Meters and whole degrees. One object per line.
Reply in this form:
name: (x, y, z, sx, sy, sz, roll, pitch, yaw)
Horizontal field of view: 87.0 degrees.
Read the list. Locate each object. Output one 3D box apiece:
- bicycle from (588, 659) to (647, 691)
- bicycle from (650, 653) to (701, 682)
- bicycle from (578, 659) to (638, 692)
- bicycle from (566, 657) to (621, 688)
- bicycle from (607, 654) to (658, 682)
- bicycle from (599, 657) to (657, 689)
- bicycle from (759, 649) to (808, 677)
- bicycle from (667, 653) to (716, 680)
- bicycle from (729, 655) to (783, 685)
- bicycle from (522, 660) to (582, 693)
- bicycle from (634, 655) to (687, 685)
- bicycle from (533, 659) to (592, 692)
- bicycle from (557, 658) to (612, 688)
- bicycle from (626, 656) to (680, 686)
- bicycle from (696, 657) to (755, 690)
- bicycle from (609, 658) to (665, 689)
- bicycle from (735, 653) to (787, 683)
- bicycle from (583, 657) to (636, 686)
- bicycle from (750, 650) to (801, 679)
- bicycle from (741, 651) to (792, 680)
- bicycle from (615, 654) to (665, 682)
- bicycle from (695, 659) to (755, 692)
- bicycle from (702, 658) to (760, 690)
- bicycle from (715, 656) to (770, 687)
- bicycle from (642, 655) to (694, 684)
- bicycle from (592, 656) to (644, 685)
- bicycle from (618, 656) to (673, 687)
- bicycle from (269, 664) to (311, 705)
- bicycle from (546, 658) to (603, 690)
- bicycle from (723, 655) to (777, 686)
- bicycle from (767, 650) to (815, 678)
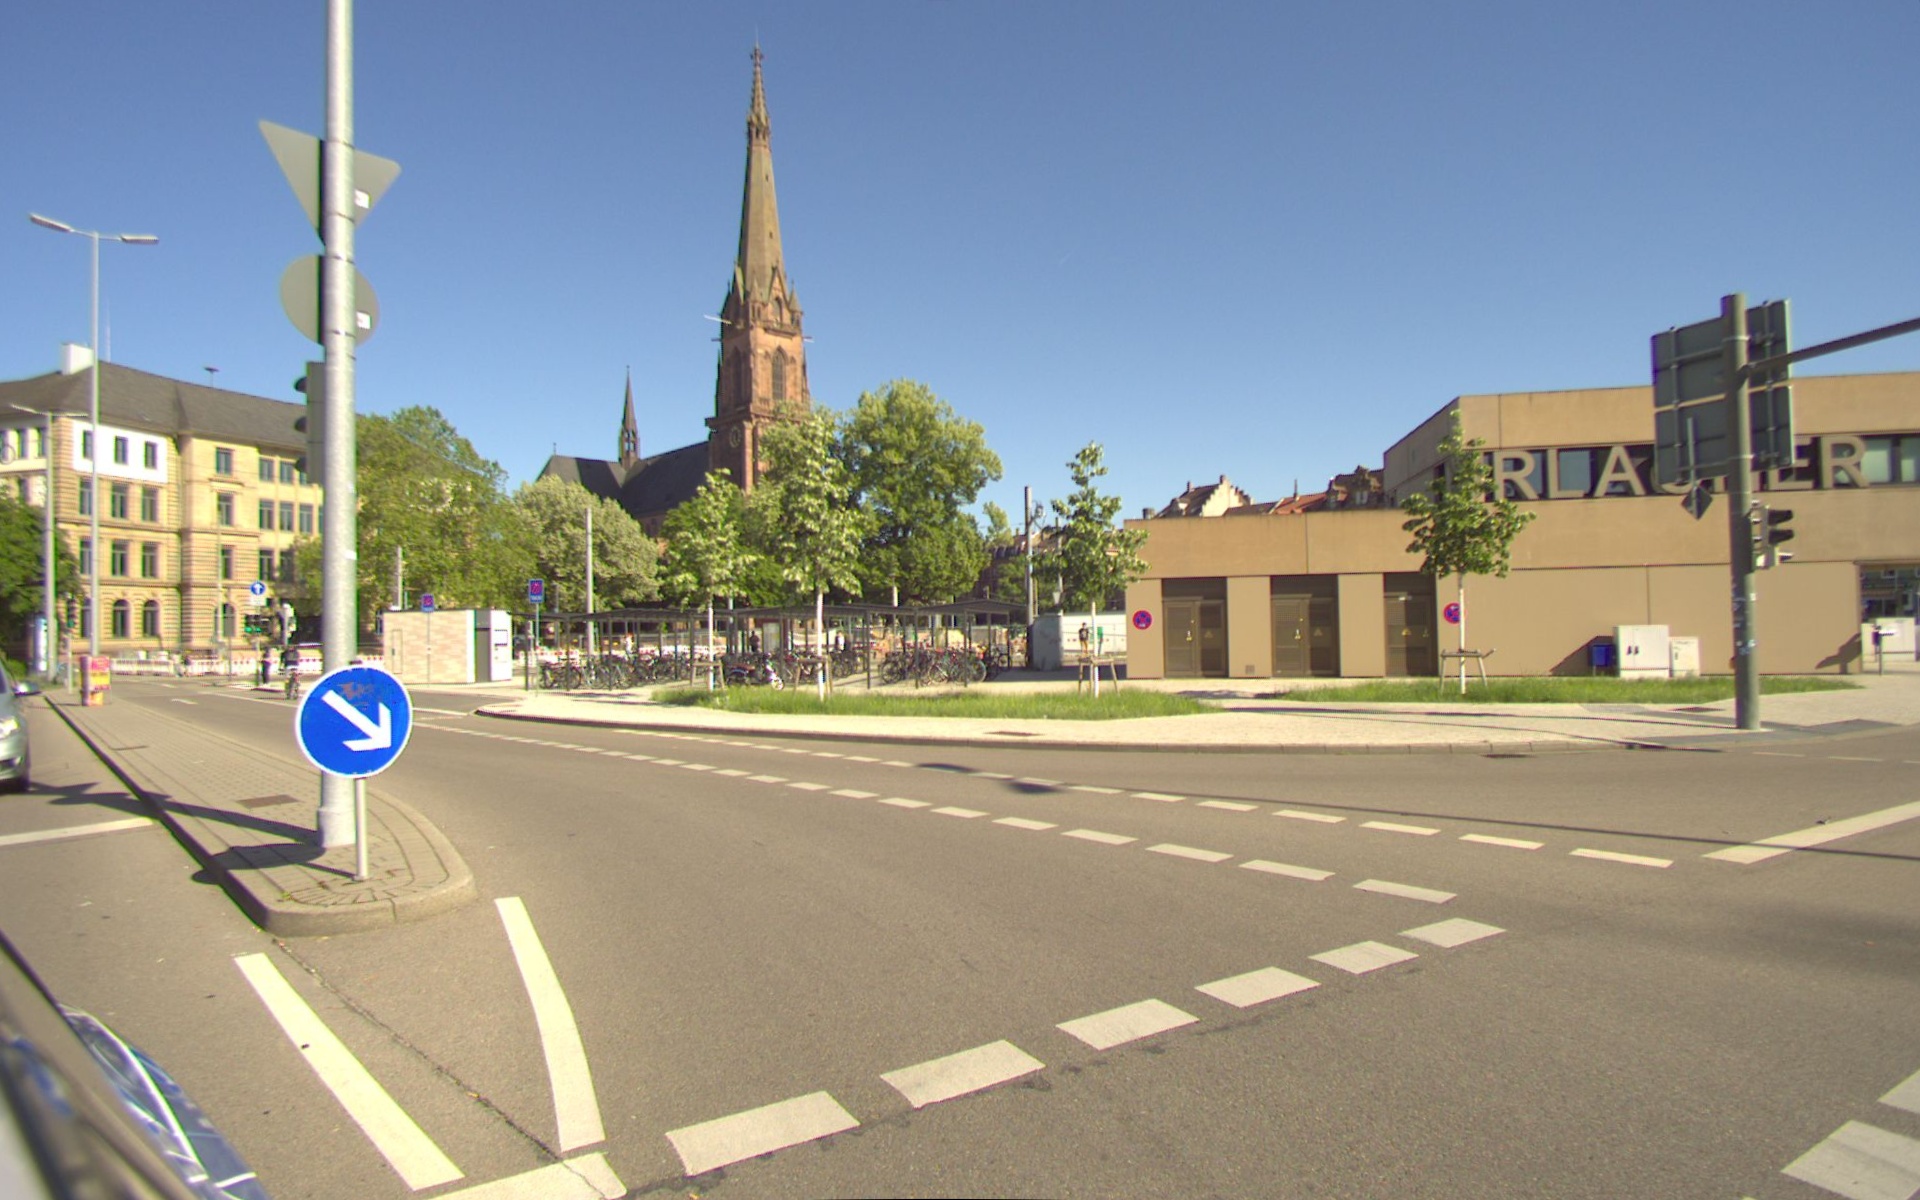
bicycle: (-11.272, 2.460, 33.343, 1.767, 1.046, 0.566, -1, -3, 9)
bicycle: (-10.555, 2.516, 37.591, 1.767, 1.046, 0.566, -1, -3, 9)
bicycle: (-11.361, 2.448, 32.700, 1.767, 1.046, 0.566, -1, -3, 9)
bicycle: (-12.950, 2.555, 35.743, 1.767, 1.046, 0.566, -1, -3, 9)
bicycle: (-12.555, 2.604, 38.811, 1.767, 1.046, 0.566, -1, -3, 9)
bicycle: (-11.146, 2.461, 33.974, 1.767, 1.046, 0.566, -1, -3, 9)
bicycle: (-6.715, 2.404, 38.504, 1.767, 1.046, 0.566, -1, -3, 9)
bicycle: (-10.314, 2.552, 38.898, 1.767, 1.046, 0.566, -1, -3, 9)
bicycle: (-7.199, 2.462, 35.749, 1.767, 1.046, 0.566, -1, -3, 9)
bicycle: (-13.329, 2.486, 33.047, 1.767, 1.046, 0.566, -1, -3, 9)
bicycle: (-10.760, 2.509, 36.368, 1.767, 1.046, 0.566, -1, -3, 9)
bicycle: (-13.233, 2.510, 33.690, 1.767, 1.046, 0.566, -1, -3, 9)
bicycle: (-13.027, 2.533, 35.117, 1.767, 1.046, 0.566, -1, -3, 9)
bicycle: (-10.846, 2.510, 35.773, 1.767, 1.046, 0.566, -1, -3, 9)
bicycle: (-7.551, 2.369, 32.613, 1.767, 1.046, 0.566, -1, -3, 9)
bicycle: (-11.026, 2.504, 34.572, 1.767, 1.046, 0.566, -1, -3, 9)
bicycle: (-7.137, 2.441, 36.346, 1.767, 1.046, 0.566, -1, -3, 9)
bicycle: (-12.802, 2.601, 36.965, 1.767, 1.046, 0.566, -1, -3, 9)
bicycle: (-6.890, 2.413, 37.793, 1.767, 1.046, 0.566, -1, -3, 9)
bicycle: (-7.064, 2.377, 36.939, 1.767, 1.046, 0.566, -1, -3, 9)
bicycle: (-12.455, 2.643, 39.394, 1.767, 1.046, 0.566, -1, -3, 9)
bicycle: (-7.421, 2.382, 32.000, 1.767, 1.046, 0.566, -1, -3, 9)
bicycle: (-7.496, 2.424, 33.192, 1.767, 1.046, 0.566, -1, -3, 9)
bicycle: (-7.409, 2.427, 34.478, 1.767, 1.046, 0.566, -1, -3, 9)
bicycle: (-10.672, 2.536, 37.000, 1.767, 1.046, 0.566, -1, -3, 9)
bicycle: (-12.720, 2.614, 37.624, 1.767, 1.046, 0.566, -1, -3, 9)
bicycle: (-10.921, 2.490, 35.165, 1.767, 1.046, 0.566, -1, -3, 9)
bicycle: (-20.370, 2.549, 30.752, 0.737, 1.174, 1.872, 2, -4, -43)
bicycle: (-13.128, 2.520, 34.437, 1.767, 1.046, 0.566, -1, -3, 9)
bicycle: (-7.295, 2.446, 35.142, 1.767, 1.046, 0.566, -1, -3, 9)
bicycle: (-6.546, 2.476, 39.251, 1.767, 1.046, 0.566, -1, -3, 9)
